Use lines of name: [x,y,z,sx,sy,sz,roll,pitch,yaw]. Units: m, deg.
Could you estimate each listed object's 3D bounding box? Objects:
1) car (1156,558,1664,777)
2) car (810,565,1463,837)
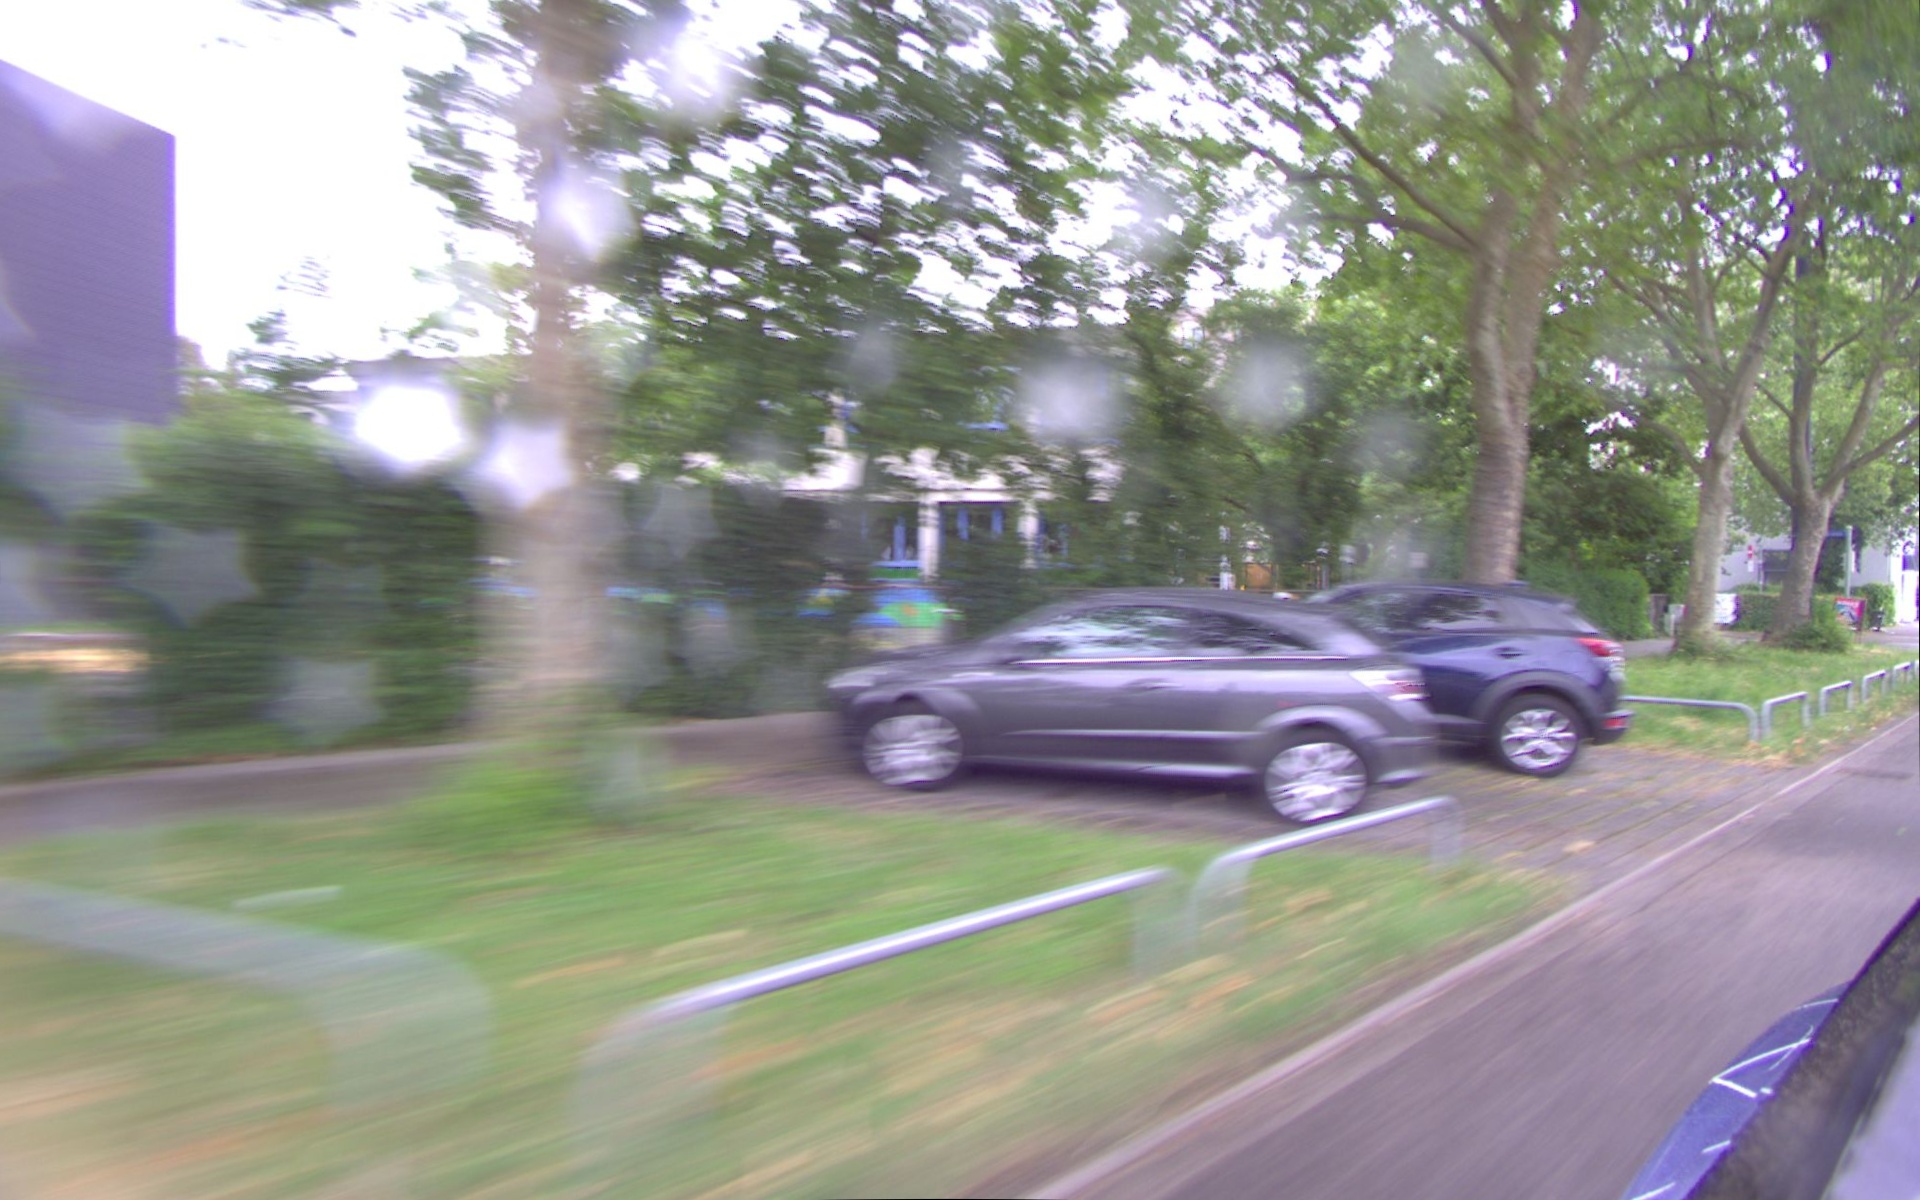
car: [3.797,0.473,9.165,3.754,1.551,1.873,3,2,18]
car: [1.140,0.541,7.199,4.003,1.435,1.735,2,3,14]
